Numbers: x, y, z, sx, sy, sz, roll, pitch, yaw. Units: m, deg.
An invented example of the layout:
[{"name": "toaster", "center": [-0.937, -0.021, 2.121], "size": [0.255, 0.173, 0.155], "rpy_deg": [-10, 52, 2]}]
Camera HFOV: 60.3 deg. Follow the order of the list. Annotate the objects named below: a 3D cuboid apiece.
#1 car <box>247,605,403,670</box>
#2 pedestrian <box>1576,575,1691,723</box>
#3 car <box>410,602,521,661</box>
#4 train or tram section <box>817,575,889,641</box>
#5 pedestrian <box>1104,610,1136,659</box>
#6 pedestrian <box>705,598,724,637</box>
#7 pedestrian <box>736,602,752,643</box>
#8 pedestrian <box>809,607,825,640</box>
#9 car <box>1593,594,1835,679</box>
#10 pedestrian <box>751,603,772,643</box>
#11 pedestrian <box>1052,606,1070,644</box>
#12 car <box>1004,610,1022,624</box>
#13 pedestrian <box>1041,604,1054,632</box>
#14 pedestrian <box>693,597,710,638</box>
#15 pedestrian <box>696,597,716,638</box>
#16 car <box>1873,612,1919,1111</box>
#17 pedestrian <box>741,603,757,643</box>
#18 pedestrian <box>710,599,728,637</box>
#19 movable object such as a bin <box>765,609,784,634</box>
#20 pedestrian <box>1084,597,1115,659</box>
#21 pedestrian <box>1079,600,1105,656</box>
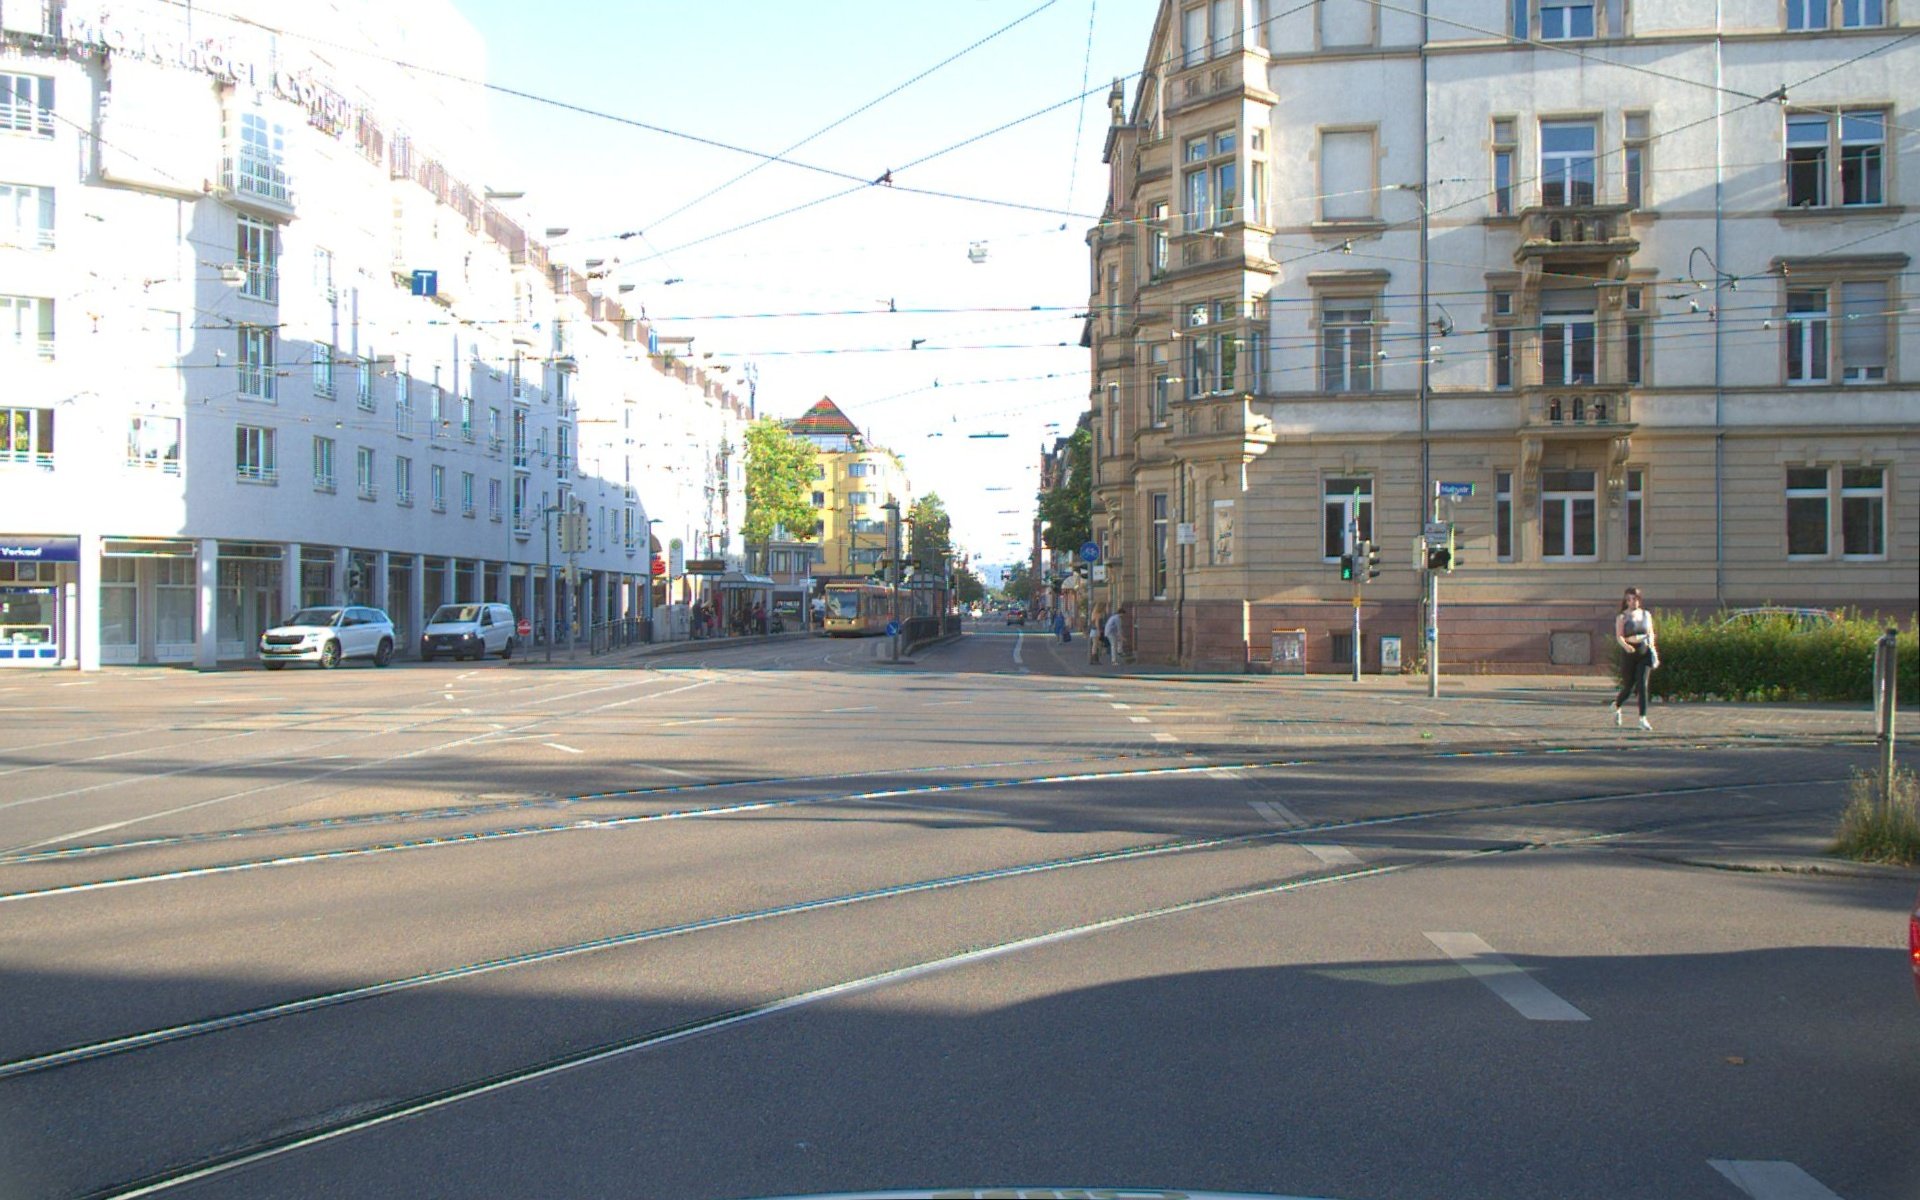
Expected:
[{"name": "car", "center": [-17.038, 0.971, 44.647], "size": [1.951, 1.648, 4.514], "rpy_deg": [0, 0, 9]}, {"name": "pedestrian", "center": [8.618, 0.614, 21.205], "size": [1.002, 1.838, 1.083], "rpy_deg": [0, 0, -2]}, {"name": "car", "center": [-16.351, 1.005, 54.984], "size": [1.952, 1.870, 5.347], "rpy_deg": [0, 0, 1]}, {"name": "train or tram section", "center": [-6.263, 0.550, 98.978], "size": [2.825, 3.551, 14.169], "rpy_deg": [-2, -1, 2]}, {"name": "pedestrian", "center": [4.516, 0.974, 46.735], "size": [0.778, 1.355, 0.719], "rpy_deg": [-2, -2, 0]}, {"name": "pedestrian", "center": [-10.848, 0.785, 73.013], "size": [0.686, 1.721, 0.668], "rpy_deg": [0, -1, -22]}, {"name": "pedestrian", "center": [-10.288, 1.080, 78.646], "size": [0.681, 1.938, 0.672], "rpy_deg": [0, -1, -1]}, {"name": "pedestrian", "center": [-8.642, 1.421, 100.101], "size": [0.863, 1.938, 0.931], "rpy_deg": [0, -1, -14]}, {"name": "car", "center": [15.381, 0.717, 33.946], "size": [4.167, 1.660, 1.946], "rpy_deg": [0, 0, 10]}, {"name": "pedestrian", "center": [-9.681, 1.126, 80.754], "size": [0.913, 1.938, 0.881], "rpy_deg": [0, -1, -1]}, {"name": "pedestrian", "center": [4.586, 1.141, 75.247], "size": [0.747, 1.674, 0.832], "rpy_deg": [-2, 0, 1]}, {"name": "car", "center": [5.857, 1.897, 182.106], "size": [1.952, 1.475, 4.001], "rpy_deg": [0, 0, 2]}, {"name": "pedestrian", "center": [5.811, 1.213, 109.688], "size": [0.699, 1.805, 0.773], "rpy_deg": [-3, 0, -1]}, {"name": "pedestrian", "center": [-10.719, 0.728, 68.588], "size": [0.586, 1.721, 0.613], "rpy_deg": [0, -1, 2]}, {"name": "pedestrian", "center": [-10.856, 0.753, 70.668], "size": [0.753, 1.763, 0.517], "rpy_deg": [-1, -1, 44]}, {"name": "car", "center": [4.788, 0.836, 5.450], "size": [3.535, 1.521, 1.678], "rpy_deg": [1, 0, -33]}, {"name": "pedestrian", "center": [-10.109, 1.093, 79.200], "size": [0.681, 1.938, 0.672], "rpy_deg": [0, -1, -1]}, {"name": "pedestrian", "center": [-10.877, 0.807, 74.627], "size": [0.686, 1.721, 0.668], "rpy_deg": [0, -1, -22]}, {"name": "movable object such as a bin", "center": [-9.745, 1.124, 86.967], "size": [0.918, 1.309, 0.934], "rpy_deg": [0, -1, 0]}, {"name": "pedestrian", "center": [4.013, 0.816, 47.490], "size": [0.778, 1.751, 0.719], "rpy_deg": [-2, -2, 0]}, {"name": "pedestrian", "center": [4.483, 0.958, 56.318], "size": [0.784, 1.856, 0.797], "rpy_deg": [-2, 0, 1]}]
